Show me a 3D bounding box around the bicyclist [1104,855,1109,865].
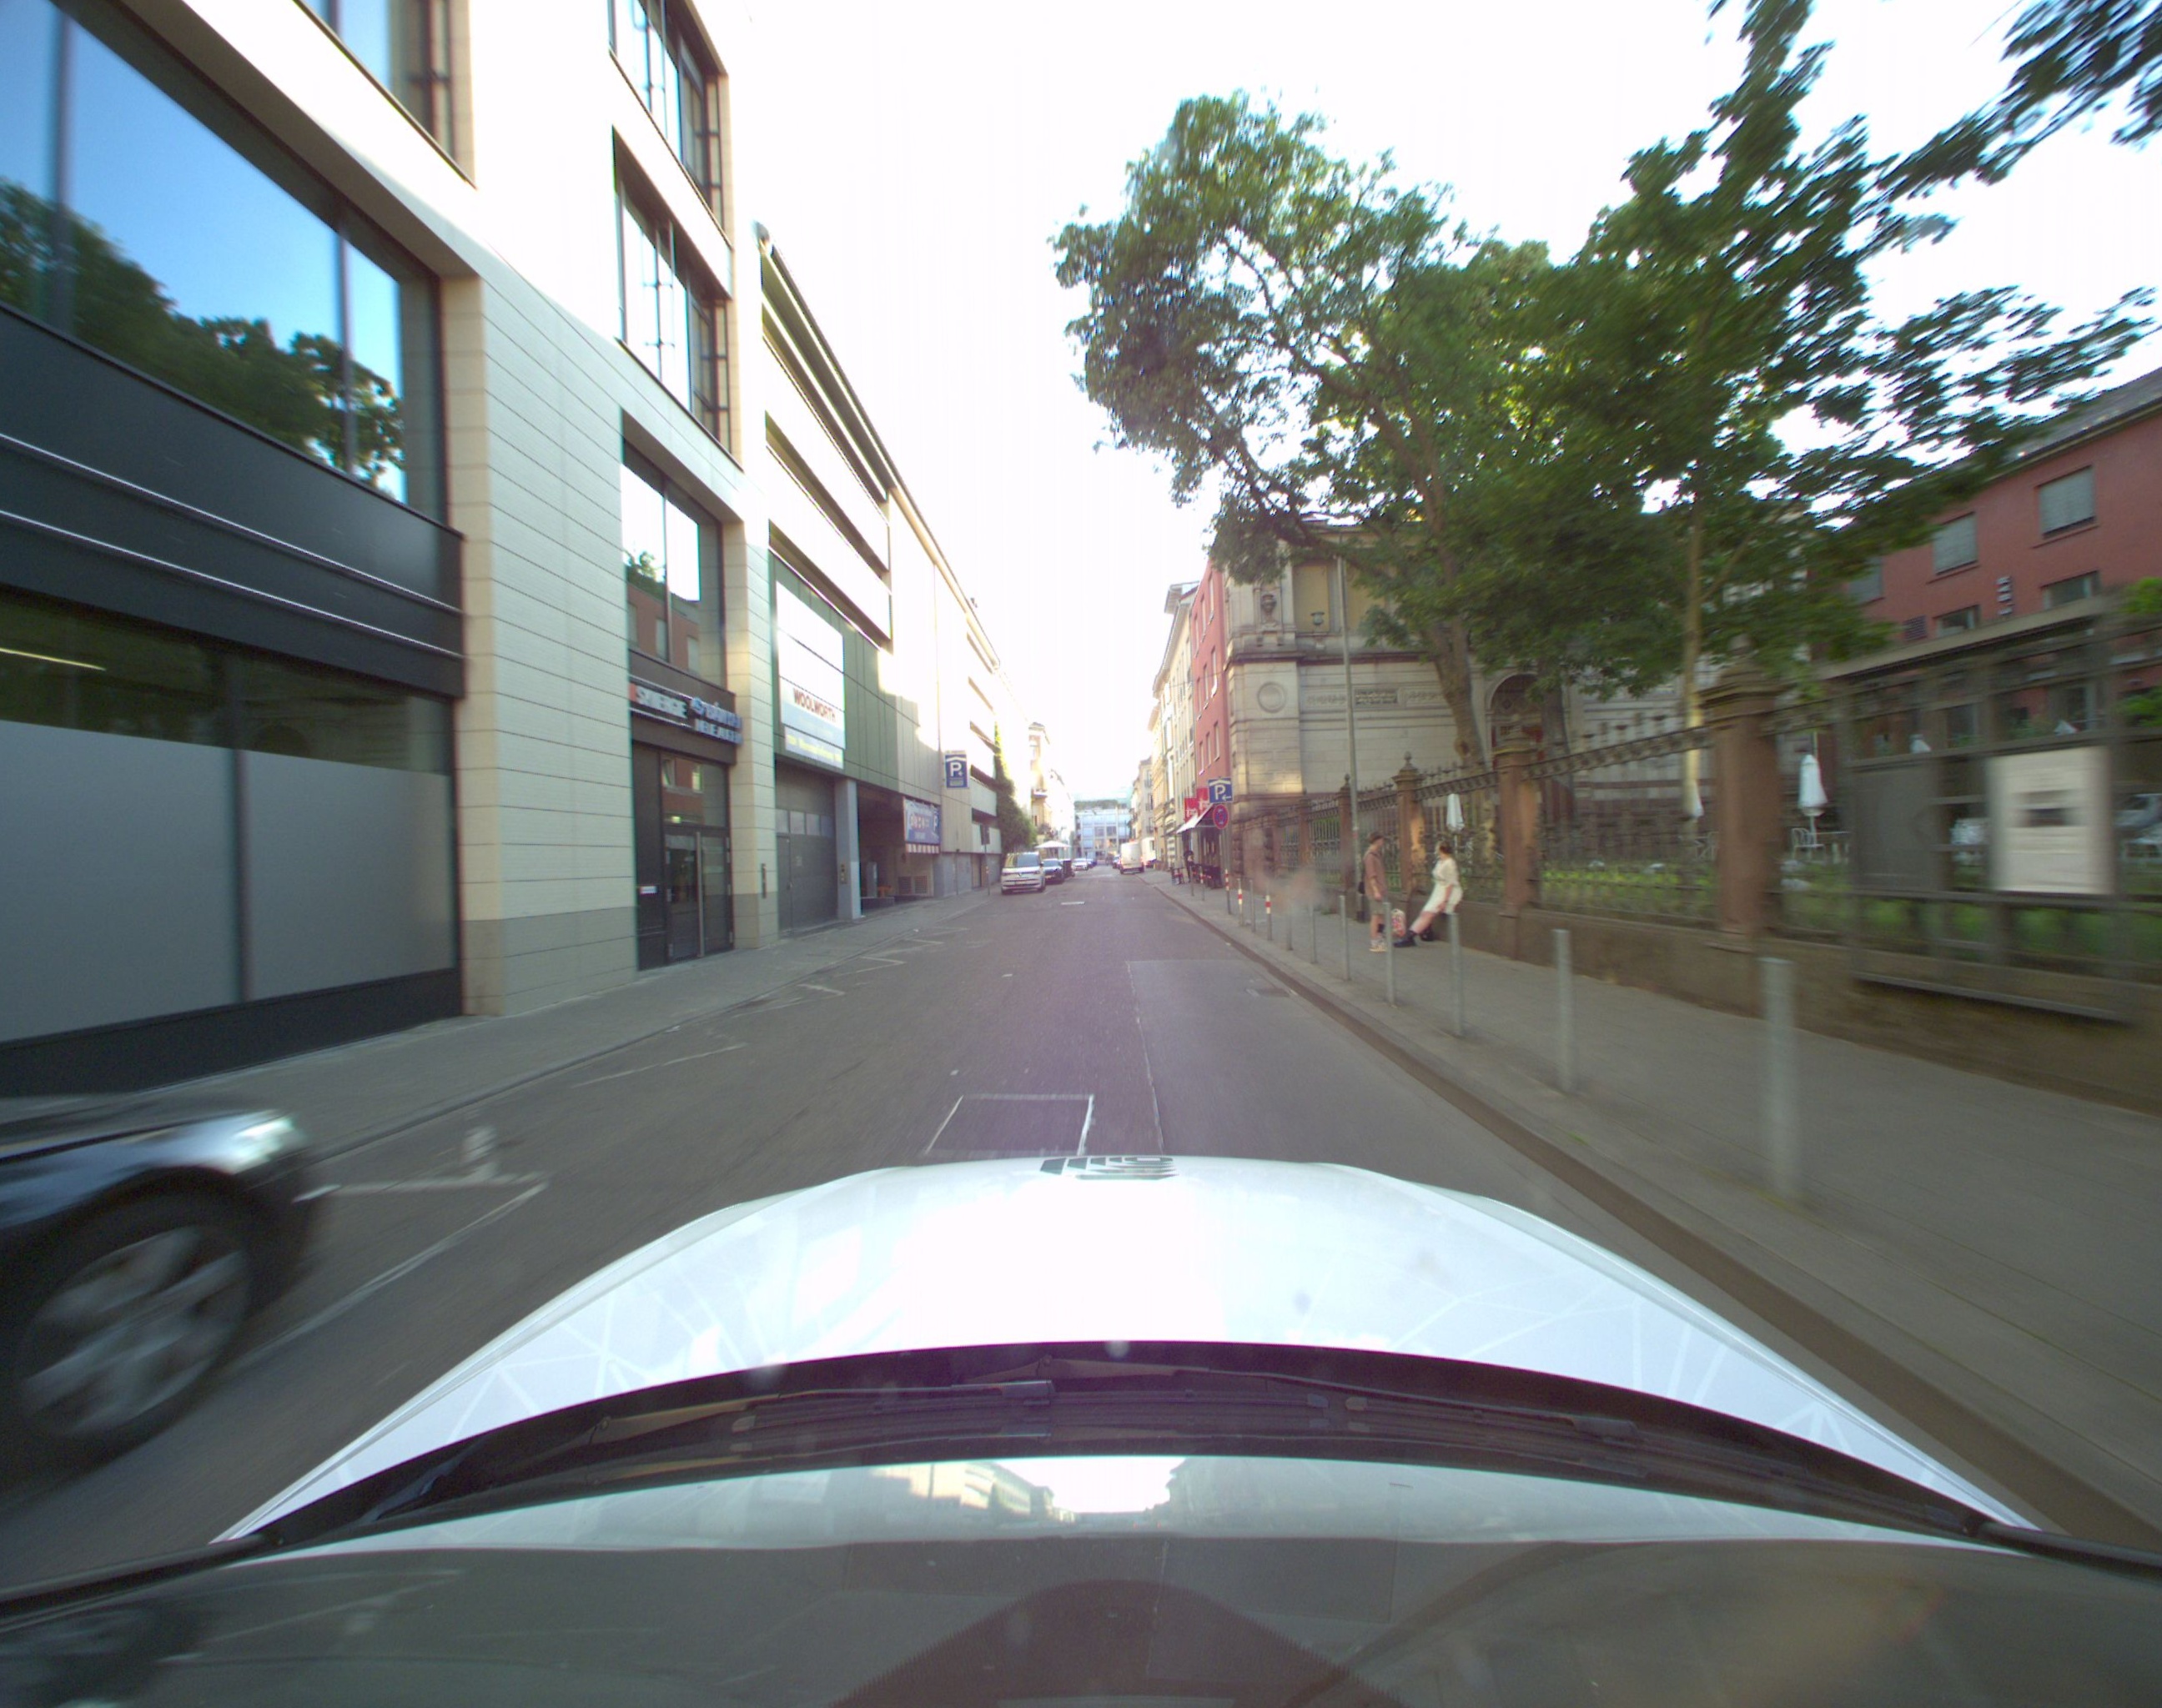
[{"bbox_3d":[4.824,1.217,154.030,0.986,1.869,0.708,-2,-1,1],"label":"bicyclist"}]

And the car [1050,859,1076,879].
[{"bbox_3d":[-1.354,1.121,63.796,1.877,1.453,4.000,-2,0,0],"label":"car"}]

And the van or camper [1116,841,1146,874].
[{"bbox_3d":[4.384,0.347,72.216,2.250,2.607,5.114,-6,-1,2],"label":"van or camper"}]

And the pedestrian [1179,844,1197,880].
[{"bbox_3d":[5.130,0.376,38.998,0.659,1.666,0.624,-4,-1,2],"label":"pedestrian"}]

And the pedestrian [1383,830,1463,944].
[{"bbox_3d":[4.778,0.447,11.413,0.748,1.499,0.618,-4,-1,-4],"label":"pedestrian"}]

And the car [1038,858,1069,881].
[{"bbox_3d":[-1.855,1.033,55.128,1.877,1.453,4.000,-2,0,0],"label":"car"}]

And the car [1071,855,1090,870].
[{"bbox_3d":[-0.048,1.028,98.290,1.986,1.684,4.001,-2,-1,2],"label":"car"}]

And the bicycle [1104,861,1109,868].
[{"bbox_3d":[4.851,1.918,154.147,0.971,1.280,2.755,-2,-1,2],"label":"bicycle"}]

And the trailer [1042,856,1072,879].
[{"bbox_3d":[-1.720,0.982,59.384,1.987,1.557,4.000,-2,-1,0],"label":"trailer"}]

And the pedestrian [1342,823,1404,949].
[{"bbox_3d":[4.030,0.429,11.269,0.483,1.658,0.617,-4,-1,-6],"label":"pedestrian"}]

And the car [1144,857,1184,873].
[{"bbox_3d":[8.395,1.139,82.685,3.972,1.420,1.657,-2,-1,1],"label":"car"}]

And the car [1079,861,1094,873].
[{"bbox_3d":[0.846,1.936,121.370,1.986,1.684,4.001,-2,-1,2],"label":"car"}]

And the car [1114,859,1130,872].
[{"bbox_3d":[5.426,1.525,108.613,1.986,1.684,4.001,-2,-1,2],"label":"car"}]

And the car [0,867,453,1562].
[{"bbox_3d":[-3.548,0.876,0.857,1.875,1.598,4.694,-2,0,4],"label":"car"}]

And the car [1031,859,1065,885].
[{"bbox_3d":[-1.989,1.078,50.208,1.877,1.453,4.000,-2,0,0],"label":"car"}]

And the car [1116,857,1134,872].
[{"bbox_3d":[5.244,1.298,96.769,1.986,1.684,4.001,-2,-1,2],"label":"car"}]

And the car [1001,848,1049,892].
[{"bbox_3d":[-2.611,0.725,38.895,1.877,1.912,4.747,-2,0,0],"label":"car"}]
